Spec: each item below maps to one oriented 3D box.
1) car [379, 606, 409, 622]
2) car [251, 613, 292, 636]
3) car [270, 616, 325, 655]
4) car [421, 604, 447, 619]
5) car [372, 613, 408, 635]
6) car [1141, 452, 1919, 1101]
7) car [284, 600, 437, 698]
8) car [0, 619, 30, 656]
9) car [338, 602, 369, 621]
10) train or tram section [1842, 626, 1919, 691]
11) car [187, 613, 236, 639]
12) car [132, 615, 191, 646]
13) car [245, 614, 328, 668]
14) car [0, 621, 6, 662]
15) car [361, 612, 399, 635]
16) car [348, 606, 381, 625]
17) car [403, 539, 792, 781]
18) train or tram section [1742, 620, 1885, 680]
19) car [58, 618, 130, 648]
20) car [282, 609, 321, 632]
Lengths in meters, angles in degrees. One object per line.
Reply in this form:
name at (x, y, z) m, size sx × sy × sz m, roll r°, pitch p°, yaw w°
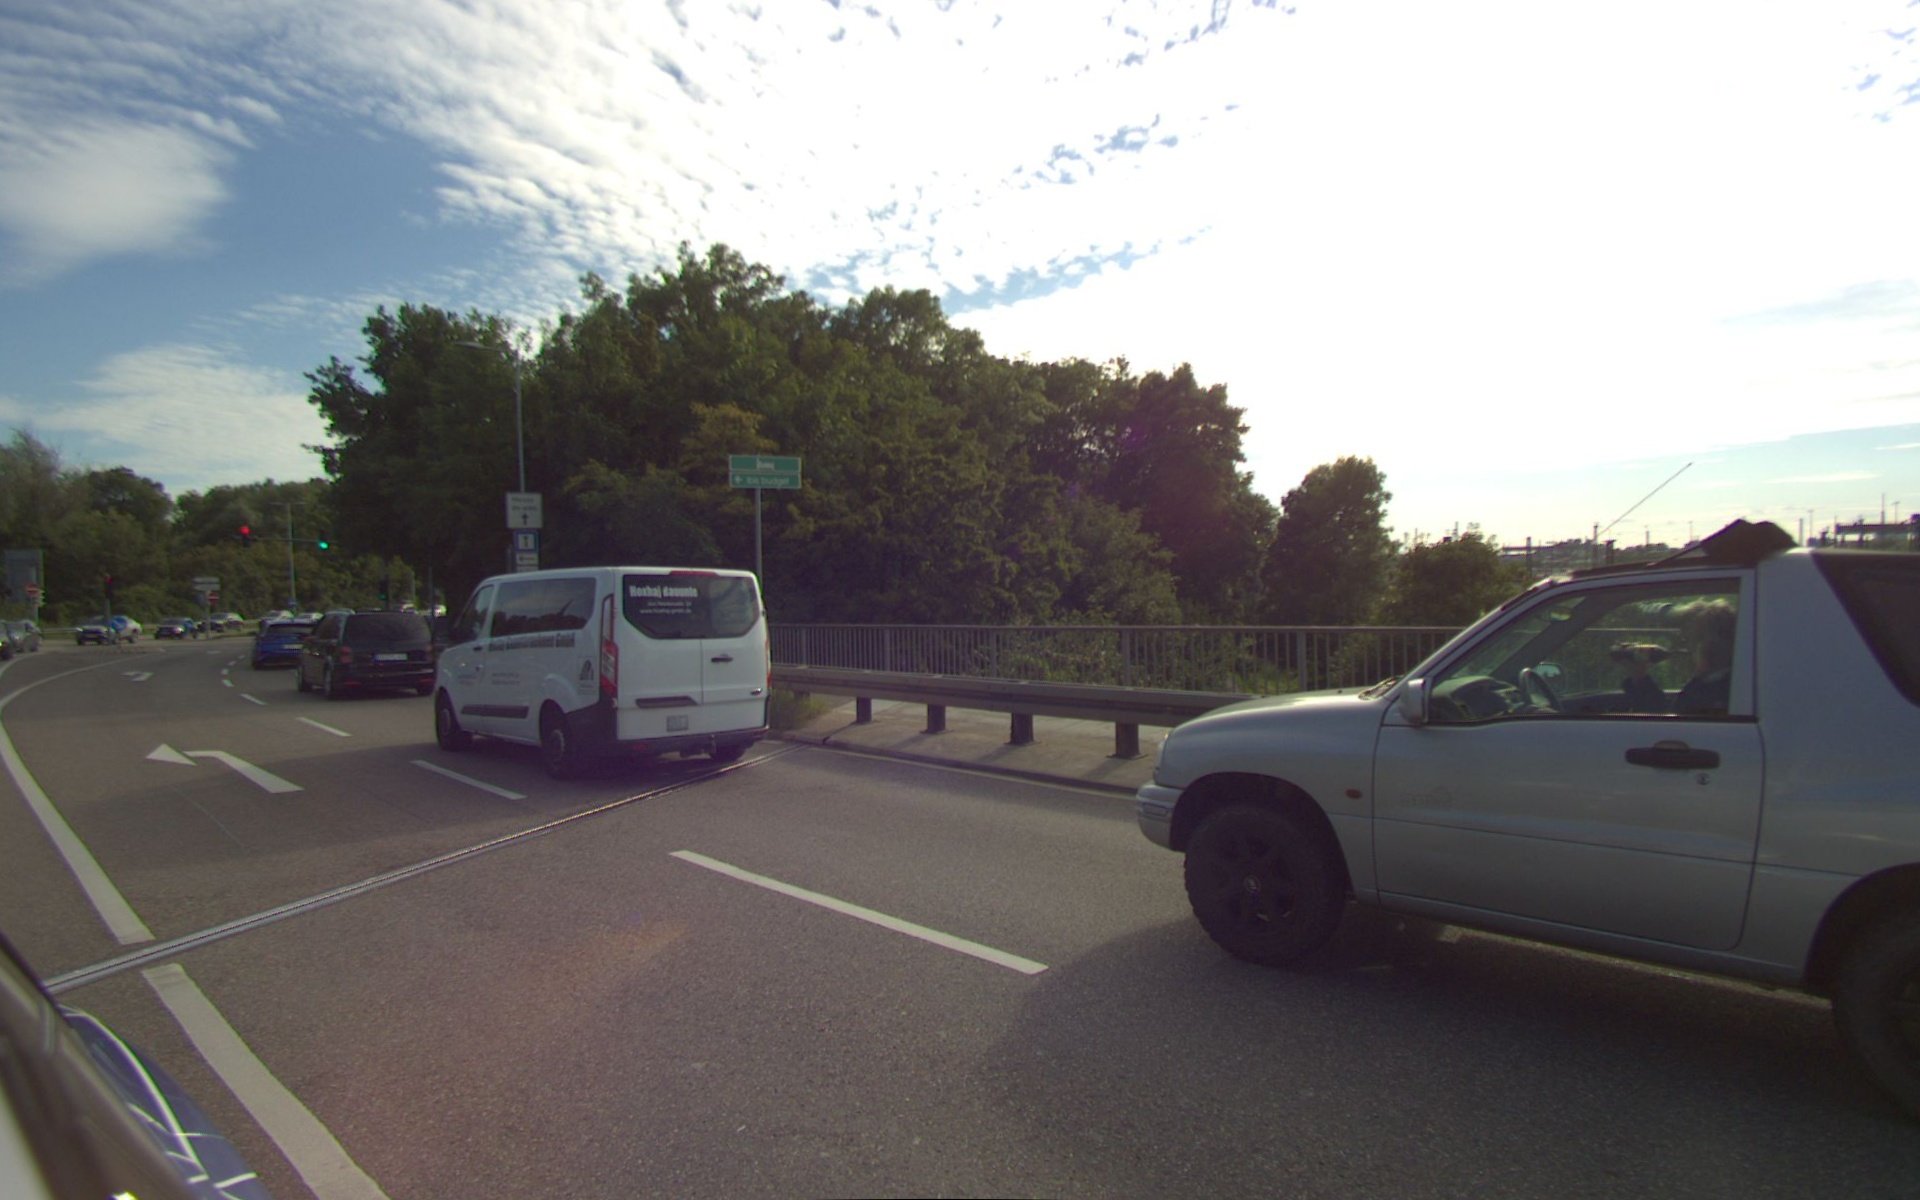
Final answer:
car at (-68.166, 1.715, 121.938) m, size 1.861 × 1.875 × 4.007 m, roll 0°, pitch 0°, yaw -8°
car at (-64.399, 2.232, 94.727) m, size 1.966 × 2.029 × 4.012 m, roll 0°, pitch 0°, yaw -16°
car at (-28.337, 1.463, 43.380) m, size 1.789 × 1.532 × 4.778 m, roll 0°, pitch -1°, yaw -31°
car at (-69.211, 1.493, 133.135) m, size 1.967 × 2.029 × 4.009 m, roll 0°, pitch 0°, yaw -10°
car at (-42.064, 1.727, 74.786) m, size 1.788 × 1.532 × 4.842 m, roll 0°, pitch -1°, yaw -23°
car at (2.788, 0.486, 3.794) m, size 3.838 × 1.759 × 1.754 m, roll -1°, pitch -1°, yaw 44°
car at (-11.611, 0.852, 19.467) m, size 1.725 × 1.667 × 4.458 m, roll 0°, pitch -1°, yaw -42°
car at (-42.678, 1.636, 44.941) m, size 1.614 × 1.564 × 3.749 m, roll 0°, pitch -1°, yaw -36°
car at (-67.586, 1.293, 112.838) m, size 1.966 × 2.029 × 4.012 m, roll 0°, pitch 0°, yaw -16°
train or tram section at (75.726, 4.632, 78.955) m, size 3.067 × 4.748 × 16.674 m, roll 0°, pitch 0°, yaw 14°
car at (-62.141, 2.117, 84.096) m, size 1.966 × 2.029 × 4.012 m, roll 0°, pitch 0°, yaw -16°
car at (-54.825, 2.070, 69.571) m, size 1.965 × 2.029 × 4.287 m, roll 0°, pitch 0°, yaw -21°
car at (-20.228, 1.173, 30.322) m, size 1.868 × 1.458 × 4.371 m, roll 0°, pitch -1°, yaw -37°
car at (-33.846, 1.417, 34.665) m, size 1.667 × 1.333 × 3.787 m, roll 0°, pitch 0°, yaw -44°
car at (-36.352, 1.457, 63.457) m, size 1.601 × 1.376 × 3.786 m, roll 0°, pitch -1°, yaw -23°
car at (-62.439, 1.606, 106.242) m, size 1.966 × 2.029 × 4.011 m, roll 0°, pitch 0°, yaw -15°
car at (-4.073, 0.523, 10.774) m, size 1.962 × 1.979 × 5.051 m, roll 0°, pitch -1°, yaw -45°
train or tram section at (79.589, 4.451, 95.082) m, size 3.067 × 4.748 × 16.674 m, roll 0°, pitch 0°, yaw 14°
car at (-50.927, 1.924, 59.619) m, size 1.965 × 1.612 × 4.295 m, roll 0°, pitch 0°, yaw -22°
car at (-60.314, 1.828, 92.755) m, size 1.966 × 2.029 × 4.012 m, roll 0°, pitch 0°, yaw -16°
